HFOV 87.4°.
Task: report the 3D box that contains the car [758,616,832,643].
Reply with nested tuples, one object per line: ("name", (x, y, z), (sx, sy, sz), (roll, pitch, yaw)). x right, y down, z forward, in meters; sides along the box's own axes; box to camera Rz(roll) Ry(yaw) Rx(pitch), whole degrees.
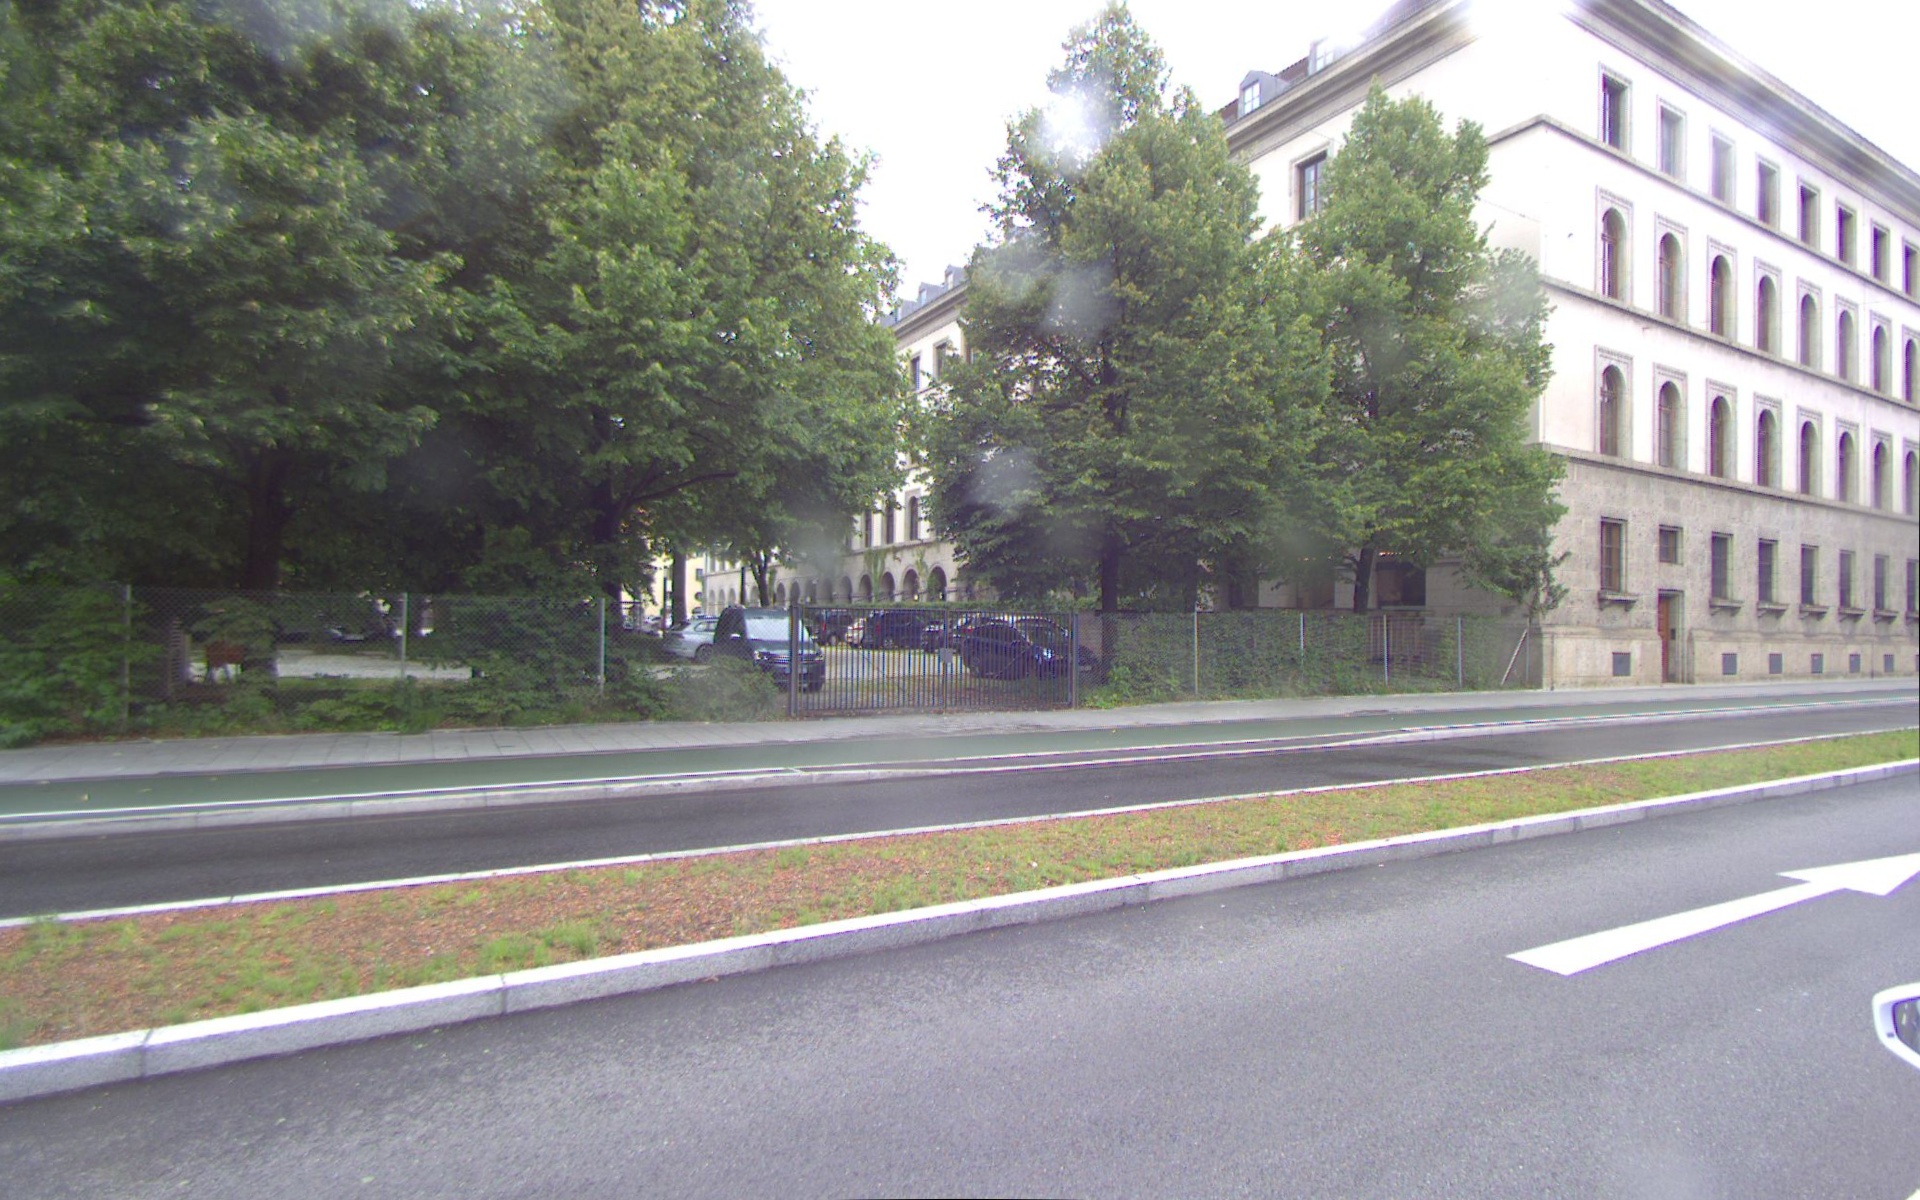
("car", (-9.818, 1.752, 59.846), (3.954, 1.564, 1.761), (2, -1, -31))

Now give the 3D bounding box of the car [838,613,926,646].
("car", (-3.794, 1.465, 49.202), (3.954, 1.564, 1.761), (2, -1, -31))

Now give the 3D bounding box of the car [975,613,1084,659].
("car", (2.676, 1.387, 38.621), (3.954, 1.661, 1.657), (2, -1, -31))

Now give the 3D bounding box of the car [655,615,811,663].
("car", (-7.394, 1.258, 32.840), (4.579, 1.460, 1.984), (2, -1, -31))

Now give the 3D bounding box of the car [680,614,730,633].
("car", (-22.400, 2.089, 88.333), (3.954, 1.564, 1.761), (2, -1, -31))

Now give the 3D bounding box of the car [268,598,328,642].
("car", (-27.601, 0.849, 41.993), (1.978, 1.742, 3.965), (2, -2, -32))

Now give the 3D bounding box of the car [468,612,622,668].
("car", (-12.234, 1.175, 29.674), (3.956, 1.564, 1.761), (2, -1, -32))

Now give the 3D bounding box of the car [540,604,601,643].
("car", (-18.388, 1.095, 47.328), (1.978, 1.742, 3.965), (2, -2, -32))

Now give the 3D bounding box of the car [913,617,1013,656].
("car", (0.139, 1.559, 42.861), (3.954, 1.564, 1.761), (2, -1, -31))

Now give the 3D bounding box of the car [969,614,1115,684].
("car", (2.059, 1.247, 26.528), (1.783, 1.671, 4.243), (1, -2, -30))

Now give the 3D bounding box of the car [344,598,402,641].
("car", (-24.987, 0.828, 42.711), (1.978, 1.742, 3.965), (2, -2, -32))

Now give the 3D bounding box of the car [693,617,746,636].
("car", (-20.031, 2.196, 83.655), (3.954, 1.564, 1.761), (2, -1, -31))

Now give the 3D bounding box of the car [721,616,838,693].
("car", (-4.250, 1.192, 23.171), (1.779, 1.609, 4.137), (1, -2, -23))

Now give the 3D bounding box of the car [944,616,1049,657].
("car", (1.502, 1.485, 40.807), (3.954, 1.564, 1.761), (2, -1, -31))

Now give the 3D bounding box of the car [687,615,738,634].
("car", (-21.150, 2.130, 85.859), (3.954, 1.564, 1.761), (2, -1, -31))

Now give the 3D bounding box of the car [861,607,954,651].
("car", (-2.466, 1.367, 47.197), (3.949, 1.954, 1.838), (2, -1, -27))

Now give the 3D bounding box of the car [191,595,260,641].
("car", (-29.431, 0.727, 40.363), (1.979, 1.742, 3.964), (2, -2, -33))

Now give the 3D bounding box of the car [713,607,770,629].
("car", (-16.871, 1.388, 77.450), (3.954, 1.564, 1.761), (2, -1, -31))

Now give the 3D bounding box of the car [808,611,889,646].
("car", (-5.948, 1.532, 53.707), (3.954, 1.755, 1.761), (2, -1, -31))
